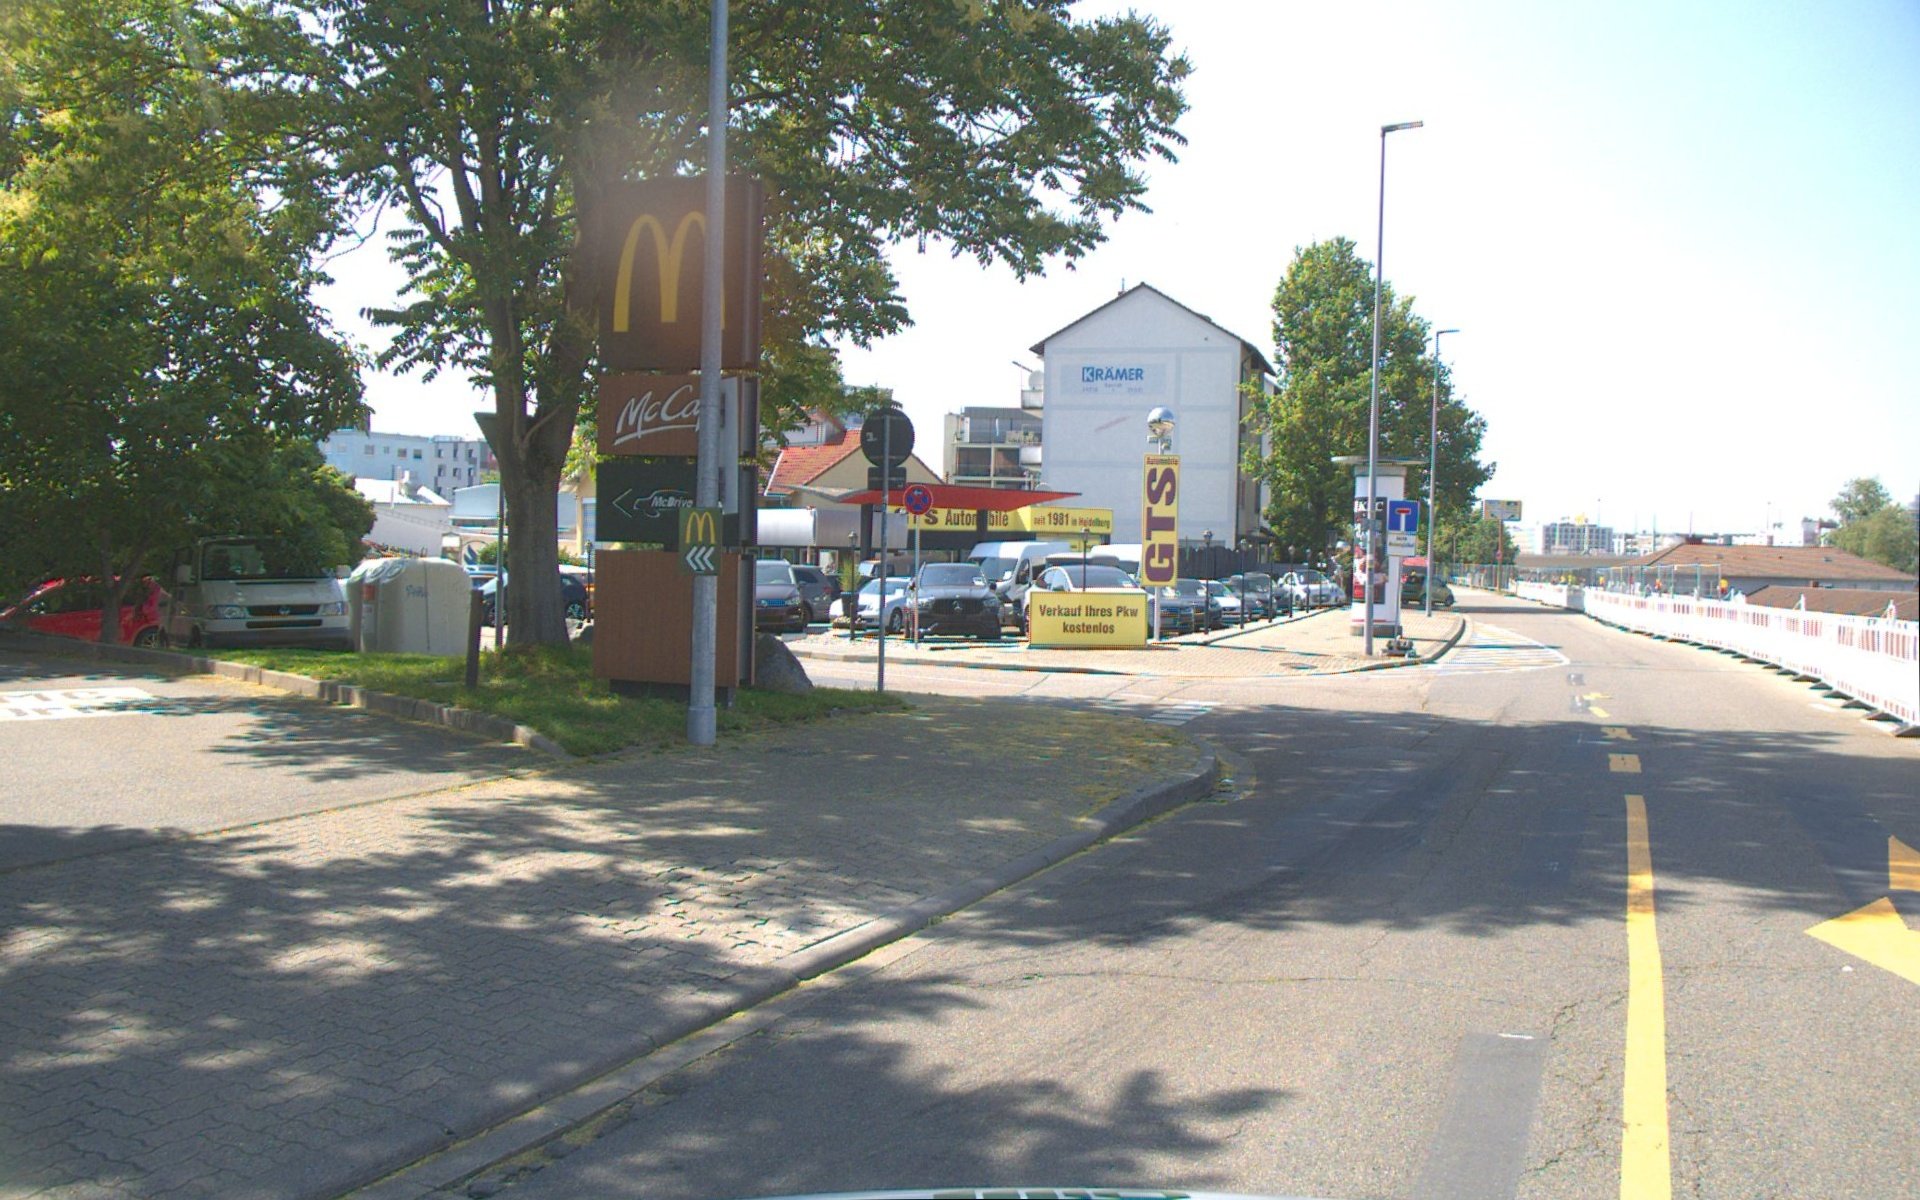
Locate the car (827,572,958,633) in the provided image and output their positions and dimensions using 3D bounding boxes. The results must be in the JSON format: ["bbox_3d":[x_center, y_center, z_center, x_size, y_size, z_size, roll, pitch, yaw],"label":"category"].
[{"bbox_3d":[-1.761,0.076,44.273,1.753,1.513,3.996,3,1,26],"label":"car"}]

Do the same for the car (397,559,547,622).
[{"bbox_3d":[-14.911,-0.284,50.658,1.963,1.755,3.978,2,0,40],"label":"car"}]

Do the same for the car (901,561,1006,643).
[{"bbox_3d":[-0.209,0.007,36.677,2.006,1.622,4.420,2,1,-4],"label":"car"}]

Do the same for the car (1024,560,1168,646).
[{"bbox_3d":[2.988,0.026,37.290,1.961,1.755,3.984,2,1,-15],"label":"car"}]

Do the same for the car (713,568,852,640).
[{"bbox_3d":[-4.106,0.079,38.879,1.751,1.536,4.002,2,1,17],"label":"car"}]

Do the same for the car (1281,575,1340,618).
[{"bbox_3d":[14.404,-0.156,68.087,1.817,1.657,4.002,2,1,4],"label":"car"}]

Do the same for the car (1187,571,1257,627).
[{"bbox_3d":[8.269,-0.066,52.521,1.817,1.657,4.002,2,1,4],"label":"car"}]

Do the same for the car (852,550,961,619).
[{"bbox_3d":[-1.652,-0.467,52.957,1.952,2.048,4.497,2,1,19],"label":"car"}]

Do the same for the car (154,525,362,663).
[{"bbox_3d":[-9.662,-0.150,22.527,1.932,1.610,4.980,2,2,-31],"label":"car"}]

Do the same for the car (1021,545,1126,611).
[{"bbox_3d":[3.429,-0.643,49.075,1.838,1.768,4.723,3,1,20],"label":"car"}]

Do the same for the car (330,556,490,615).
[{"bbox_3d":[-18.046,-0.460,54.456,1.964,1.755,4.628,2,0,40],"label":"car"}]

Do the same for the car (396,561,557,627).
[{"bbox_3d":[-13.853,-0.157,47.501,3.967,1.735,1.969,2,1,-43],"label":"car"}]

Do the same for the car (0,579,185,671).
[{"bbox_3d":[-15.010,0.383,27.734,3.384,1.402,1.465,0,4,-41],"label":"car"}]

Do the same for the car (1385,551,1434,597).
[{"bbox_3d":[27.368,-1.558,100.561,2.485,2.563,5.120,2,1,19],"label":"car"}]

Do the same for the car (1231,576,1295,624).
[{"bbox_3d":[11.086,-0.037,60.724,1.817,1.657,4.002,2,1,4],"label":"car"}]

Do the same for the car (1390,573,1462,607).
[{"bbox_3d":[24.441,-0.526,86.803,3.225,1.666,1.715,2,0,-23],"label":"car"}]

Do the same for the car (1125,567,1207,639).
[{"bbox_3d":[5.141,0.031,41.707,1.817,1.657,4.002,2,1,4],"label":"car"}]

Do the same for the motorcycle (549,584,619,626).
[{"bbox_3d":[-11.135,0.153,49.012,1.849,1.179,0.782,2,0,-31],"label":"motorcycle"}]

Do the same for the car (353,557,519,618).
[{"bbox_3d":[-16.513,-0.371,52.291,1.964,1.755,4.628,2,0,40],"label":"car"}]

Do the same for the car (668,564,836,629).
[{"bbox_3d":[-5.725,-0.100,45.479,4.255,1.612,1.989,2,0,-19],"label":"car"}]

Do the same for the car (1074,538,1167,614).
[{"bbox_3d":[5.378,-0.793,54.799,2.091,2.324,4.714,2,1,17],"label":"car"}]

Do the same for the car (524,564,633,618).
[{"bbox_3d":[-12.829,-0.314,55.527,1.981,1.612,3.943,2,1,-40],"label":"car"}]

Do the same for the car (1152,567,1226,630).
[{"bbox_3d":[6.491,-0.083,47.205,1.817,1.657,4.002,2,1,4],"label":"car"}]

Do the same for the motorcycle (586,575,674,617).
[{"bbox_3d":[-10.442,-0.106,52.482,0.981,1.248,2.704,3,1,40],"label":"motorcycle"}]

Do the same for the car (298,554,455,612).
[{"bbox_3d":[-19.753,-0.550,56.122,1.964,1.755,4.628,2,0,40],"label":"car"}]

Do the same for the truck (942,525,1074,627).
[{"bbox_3d":[1.617,-0.756,52.443,2.223,2.954,5.943,3,1,21],"label":"truck"}]
